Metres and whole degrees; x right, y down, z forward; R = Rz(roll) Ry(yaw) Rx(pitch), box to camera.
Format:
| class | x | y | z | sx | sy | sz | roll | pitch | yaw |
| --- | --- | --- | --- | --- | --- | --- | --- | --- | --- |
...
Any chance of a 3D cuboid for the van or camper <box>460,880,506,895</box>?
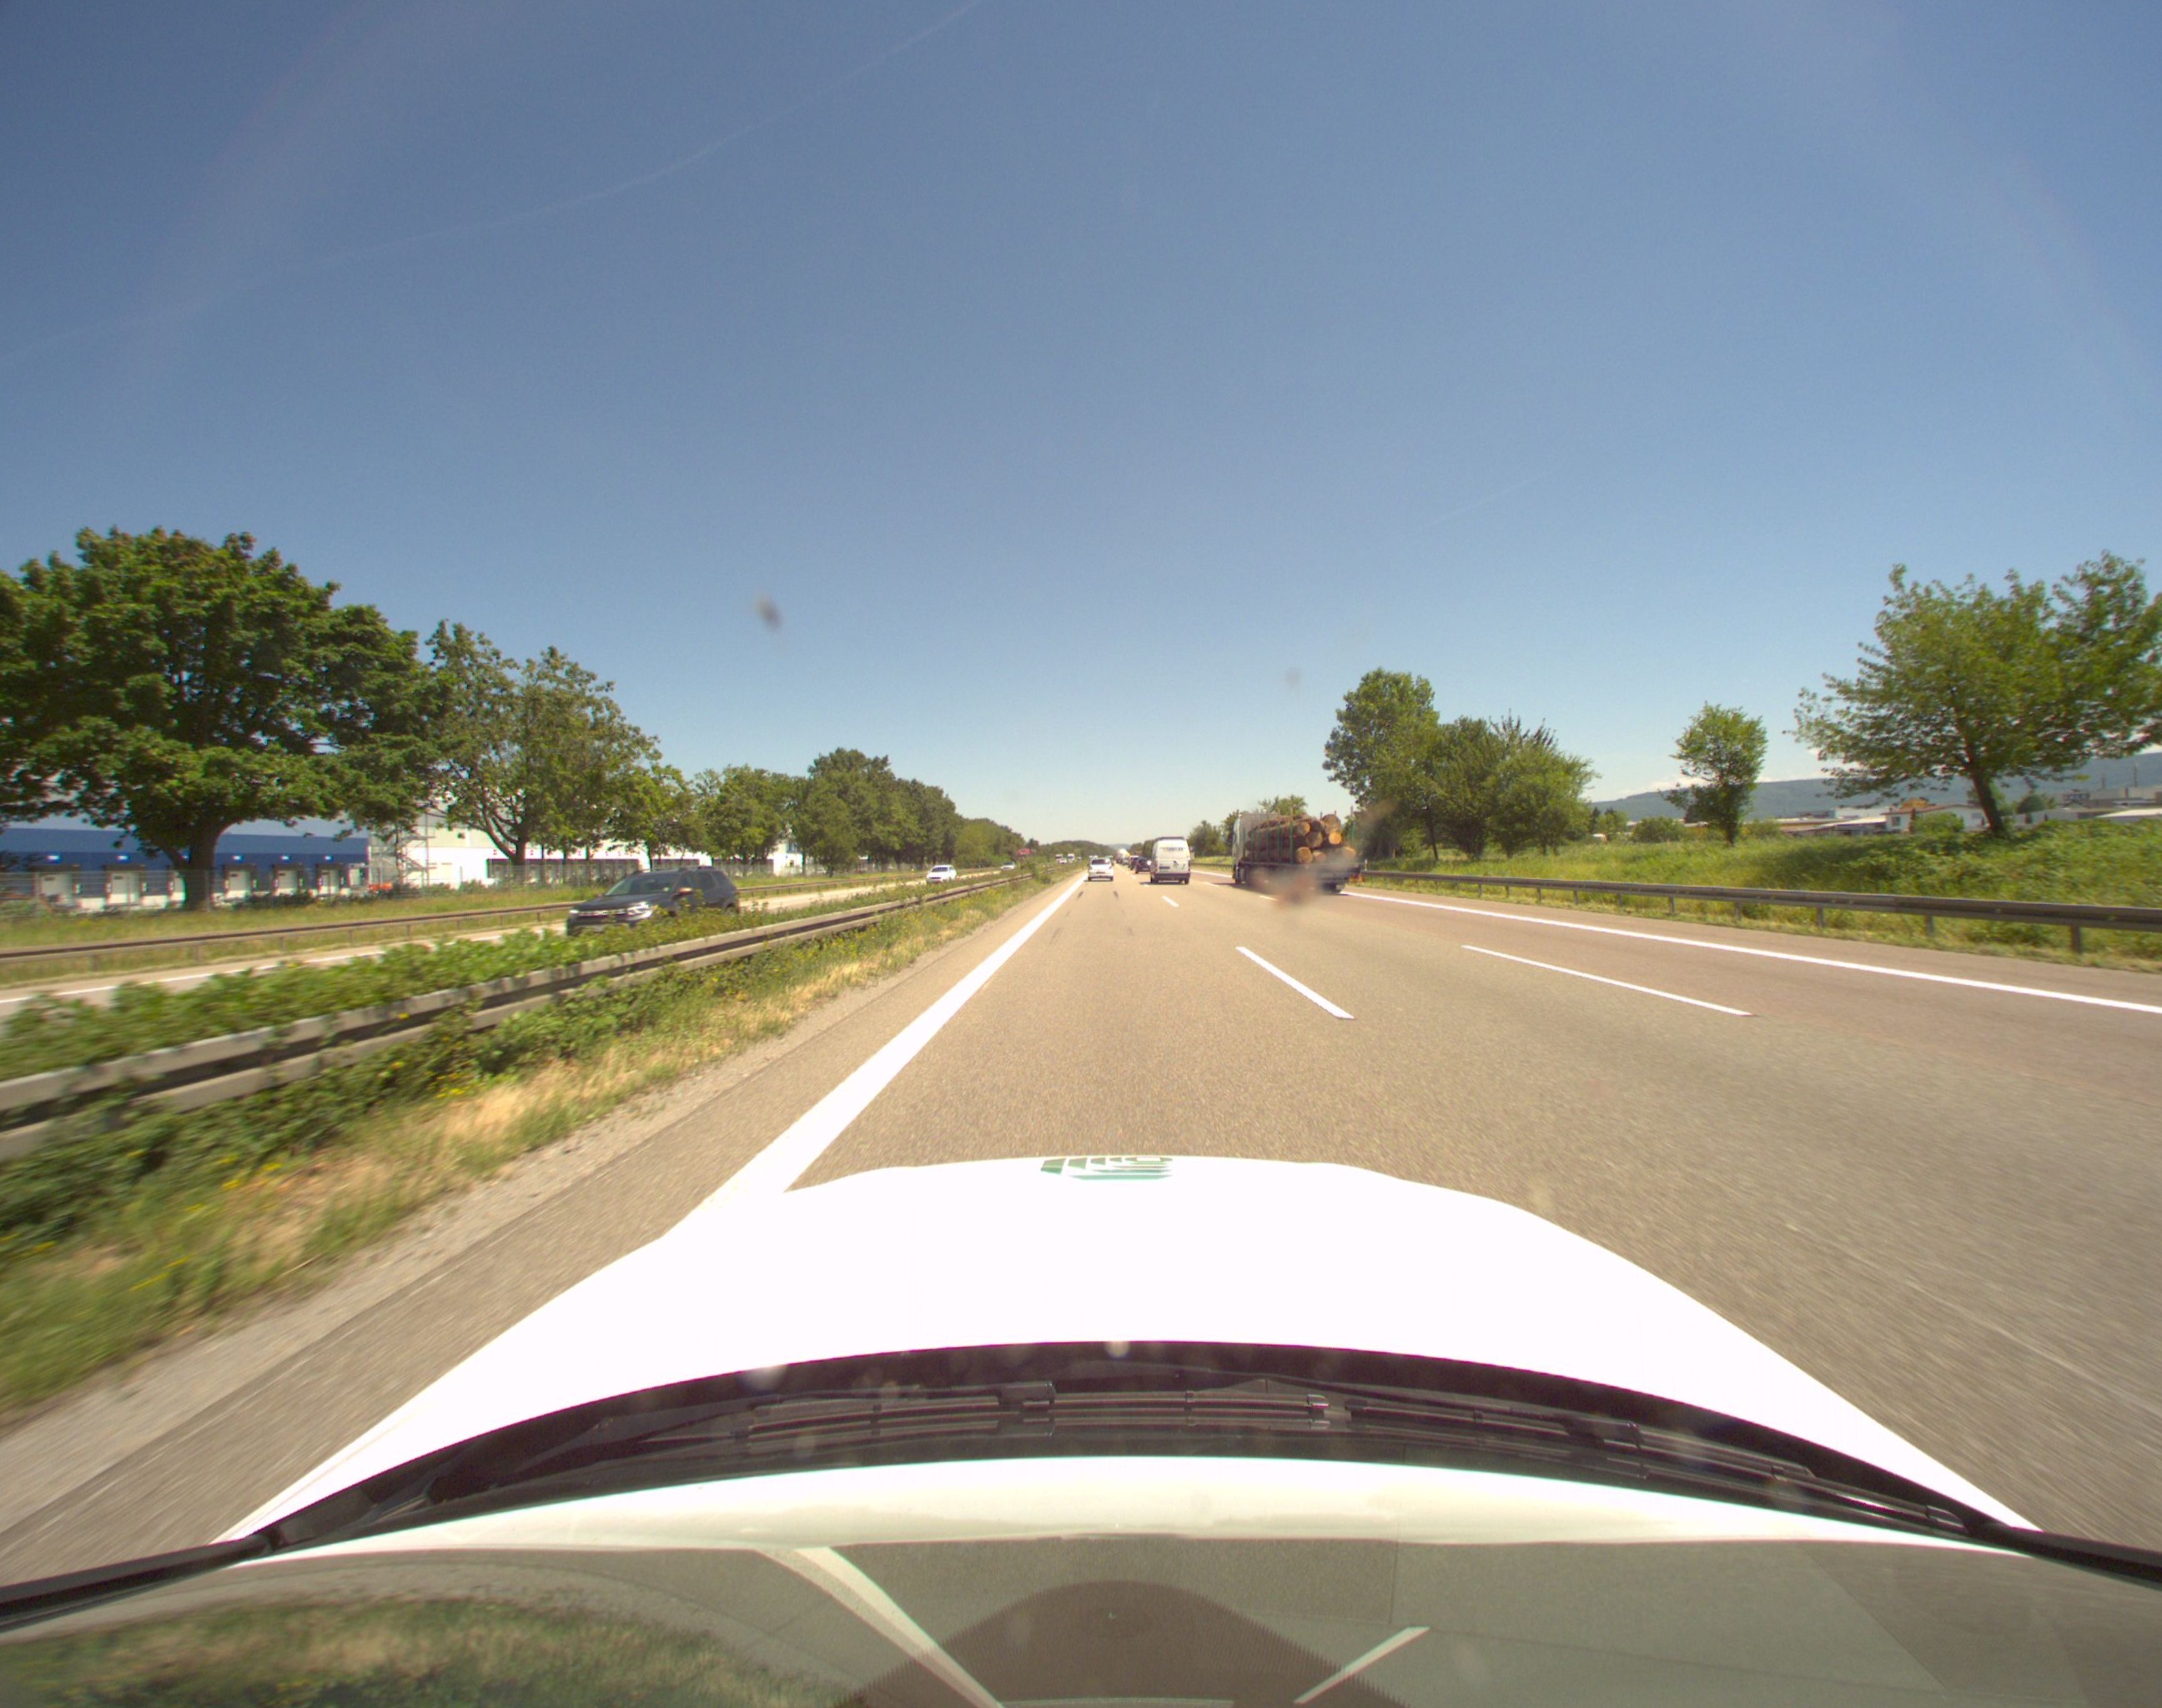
| class | x | y | z | sx | sy | sz | roll | pitch | yaw |
| --- | --- | --- | --- | --- | --- | --- | --- | --- | --- |
| van or camper | -76.419 | 4.317 | 104.219 | 1.986 | 1.652 | 5.022 | -3 | 0 | 2 |

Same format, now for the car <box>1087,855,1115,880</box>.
| class | x | y | z | sx | sy | sz | roll | pitch | yaw |
| --- | --- | --- | --- | --- | --- | --- | --- | --- | --- |
| car | 1.313 | 0.881 | 54.779 | 1.851 | 1.652 | 3.999 | 0 | 0 | 0 |

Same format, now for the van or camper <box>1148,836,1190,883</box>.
| class | x | y | z | sx | sy | sz | roll | pitch | yaw |
| --- | --- | --- | --- | --- | --- | --- | --- | --- | --- |
| van or camper | 5.155 | 0.330 | 48.427 | 2.050 | 2.622 | 5.987 | -1 | 0 | 2 |

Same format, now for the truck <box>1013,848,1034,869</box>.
| class | x | y | z | sx | sy | sz | roll | pitch | yaw |
| --- | --- | --- | --- | --- | --- | --- | --- | --- | --- |
| truck | -11.581 | 0.879 | 165.091 | 3.426 | 3.931 | 6.223 | -4 | 0 | 2 |

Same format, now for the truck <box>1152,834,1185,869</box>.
| class | x | y | z | sx | sy | sz | roll | pitch | yaw |
| --- | --- | --- | --- | --- | --- | --- | --- | --- | --- |
| truck | 11.250 | -0.274 | 106.259 | 3.067 | 4.209 | 16.852 | 0 | 0 | 2 |

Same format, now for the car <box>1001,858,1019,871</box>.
| class | x | y | z | sx | sy | sz | roll | pitch | yaw |
| --- | --- | --- | --- | --- | --- | --- | --- | --- | --- |
| car | -9.761 | 1.461 | 111.949 | 1.839 | 1.682 | 4.816 | -3 | 0 | 2 |

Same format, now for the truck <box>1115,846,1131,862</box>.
| class | x | y | z | sx | sy | sz | roll | pitch | yaw |
| --- | --- | --- | --- | --- | --- | --- | --- | --- | --- |
| truck | 11.197 | 0.033 | 220.805 | 3.248 | 4.209 | 16.836 | 0 | 0 | -1 |

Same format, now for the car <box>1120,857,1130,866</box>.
| class | x | y | z | sx | sy | sz | roll | pitch | yaw |
| --- | --- | --- | --- | --- | --- | --- | --- | --- | --- |
| car | 8.479 | 1.487 | 156.964 | 1.851 | 1.652 | 3.999 | -1 | 0 | 0 |

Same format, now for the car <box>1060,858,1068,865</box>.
| class | x | y | z | sx | sy | sz | roll | pitch | yaw |
| --- | --- | --- | --- | --- | --- | --- | --- | --- | --- |
| car | -4.986 | 2.231 | 238.900 | 1.989 | 1.912 | 5.211 | -3 | 0 | 0 |

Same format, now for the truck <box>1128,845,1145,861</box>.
| class | x | y | z | sx | sy | sz | roll | pitch | yaw |
| --- | --- | --- | --- | --- | --- | --- | --- | --- | --- |
| truck | 15.425 | -0.162 | 227.436 | 3.248 | 4.209 | 16.836 | 0 | 0 | -1 |

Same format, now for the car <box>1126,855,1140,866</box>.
| class | x | y | z | sx | sy | sz | roll | pitch | yaw |
| --- | --- | --- | --- | --- | --- | --- | --- | --- | --- |
| car | 7.919 | 1.009 | 124.929 | 1.851 | 1.652 | 3.999 | -1 | 0 | 0 |

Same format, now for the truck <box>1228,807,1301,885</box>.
| class | x | y | z | sx | sy | sz | roll | pitch | yaw |
| --- | --- | --- | --- | --- | --- | --- | --- | --- | --- |
| truck | 9.986 | -0.395 | 44.987 | 2.660 | 3.994 | 6.638 | 0 | 0 | 2 |

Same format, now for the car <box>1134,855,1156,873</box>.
| class | x | y | z | sx | sy | sz | roll | pitch | yaw |
| --- | --- | --- | --- | --- | --- | --- | --- | --- | --- |
| car | 6.090 | 0.903 | 77.842 | 1.851 | 1.652 | 3.999 | -1 | 0 | 0 |

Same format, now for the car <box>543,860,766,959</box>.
| class | x | y | z | sx | sy | sz | roll | pitch | yaw |
| --- | --- | --- | --- | --- | --- | --- | --- | --- | --- |
| car | -8.797 | 1.039 | 17.432 | 1.986 | 1.640 | 4.861 | -5 | -1 | 2 |

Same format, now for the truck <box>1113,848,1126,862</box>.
| class | x | y | z | sx | sy | sz | roll | pitch | yaw |
| --- | --- | --- | --- | --- | --- | --- | --- | --- | --- |
| truck | 11.924 | 0.491 | 253.997 | 3.248 | 4.209 | 16.836 | 0 | 0 | -1 |

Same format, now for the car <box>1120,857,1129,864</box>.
| class | x | y | z | sx | sy | sz | roll | pitch | yaw |
| --- | --- | --- | --- | --- | --- | --- | --- | --- | --- |
| car | 9.727 | 1.408 | 181.556 | 1.851 | 1.652 | 3.999 | -1 | 0 | 0 |

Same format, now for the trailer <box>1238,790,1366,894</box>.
| class | x | y | z | sx | sy | sz | roll | pitch | yaw |
| --- | --- | --- | --- | --- | --- | --- | --- | --- | --- |
| trailer | 9.765 | -0.439 | 37.956 | 2.643 | 3.958 | 13.641 | 0 | 0 | 2 |

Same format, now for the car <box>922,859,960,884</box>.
| class | x | y | z | sx | sy | sz | roll | pitch | yaw |
| --- | --- | --- | --- | --- | --- | --- | --- | --- | --- |
| car | -10.825 | 1.322 | 63.272 | 1.987 | 1.640 | 4.859 | -5 | -1 | 1 |

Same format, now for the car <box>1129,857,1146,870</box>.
| class | x | y | z | sx | sy | sz | roll | pitch | yaw |
| --- | --- | --- | --- | --- | --- | --- | --- | --- | --- |
| car | 7.117 | 1.185 | 102.123 | 1.851 | 1.652 | 3.999 | -1 | 0 | 0 |
